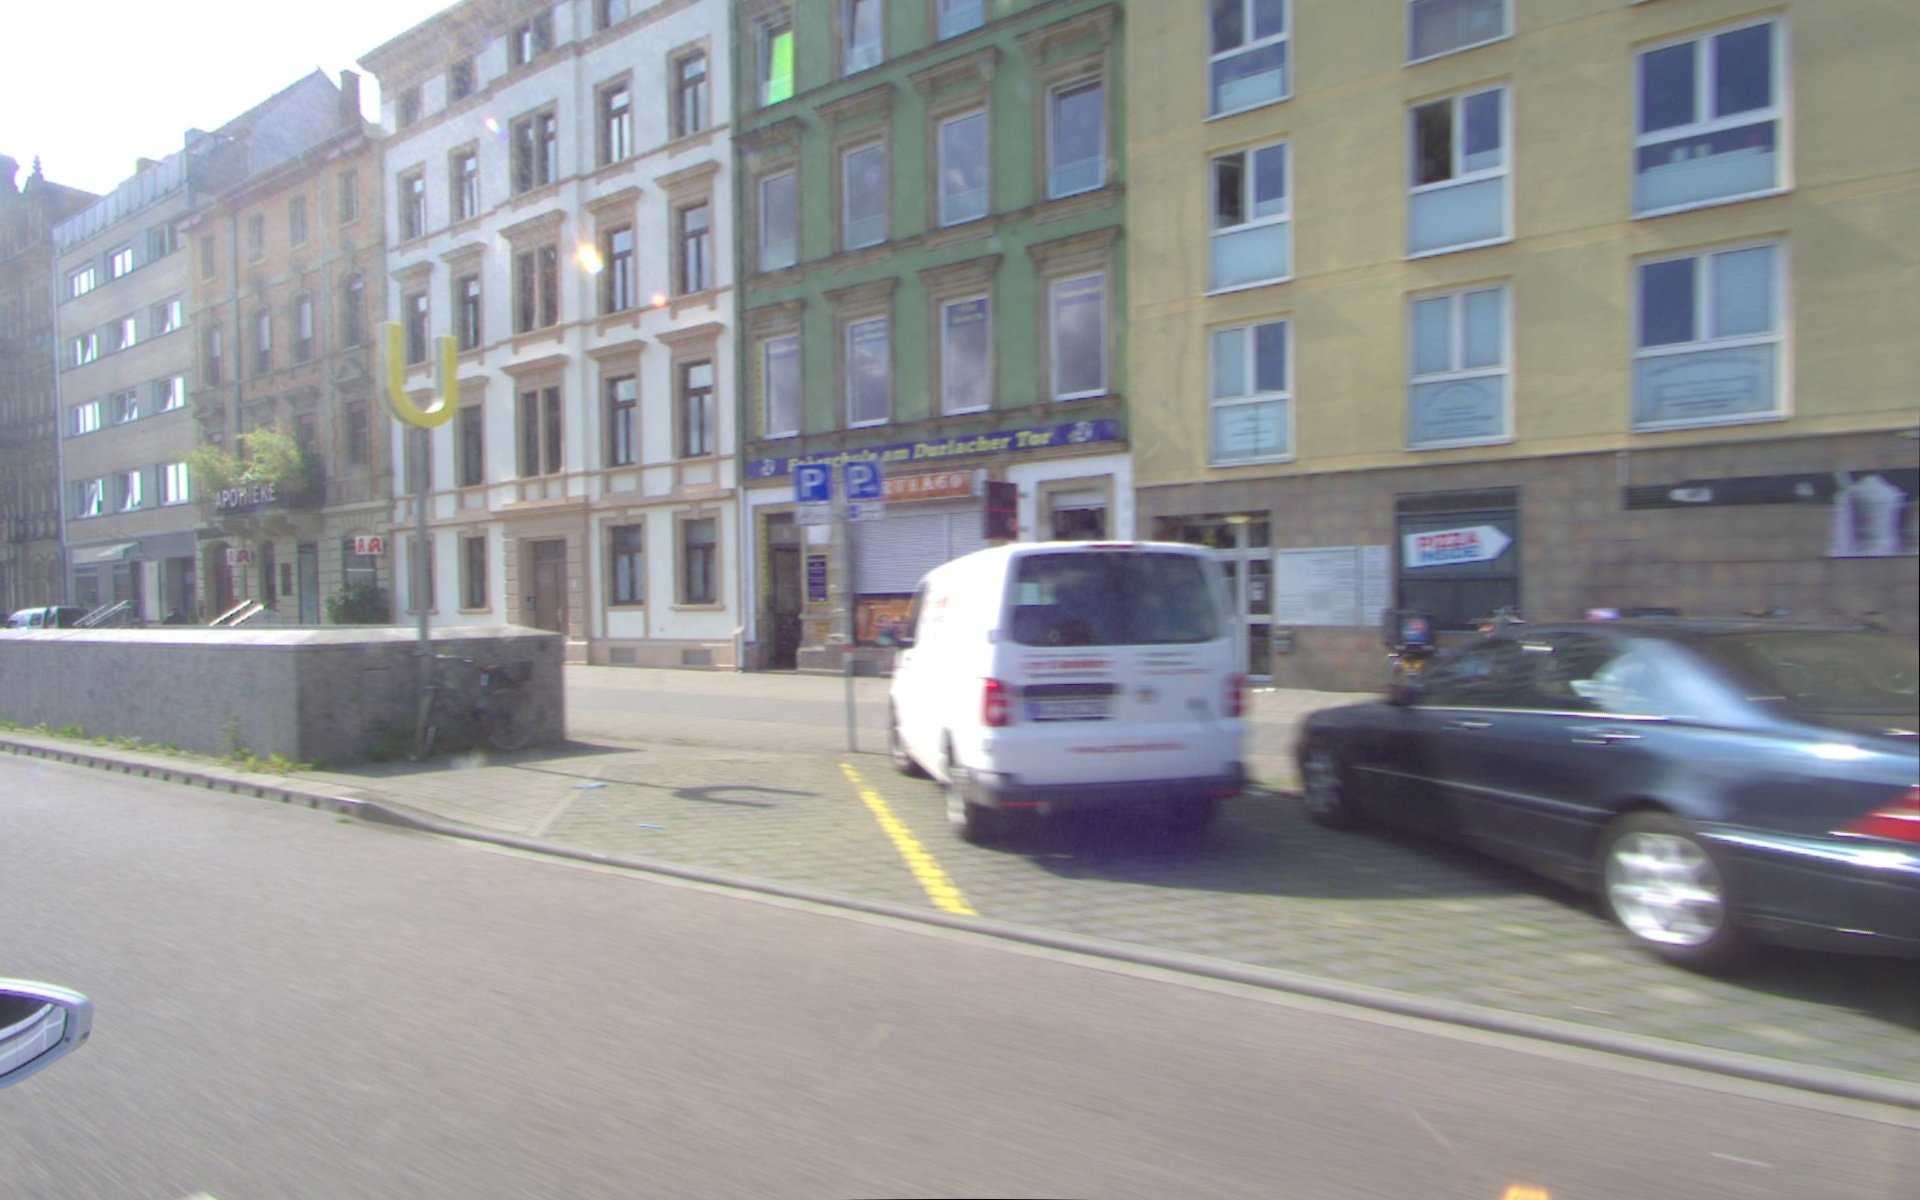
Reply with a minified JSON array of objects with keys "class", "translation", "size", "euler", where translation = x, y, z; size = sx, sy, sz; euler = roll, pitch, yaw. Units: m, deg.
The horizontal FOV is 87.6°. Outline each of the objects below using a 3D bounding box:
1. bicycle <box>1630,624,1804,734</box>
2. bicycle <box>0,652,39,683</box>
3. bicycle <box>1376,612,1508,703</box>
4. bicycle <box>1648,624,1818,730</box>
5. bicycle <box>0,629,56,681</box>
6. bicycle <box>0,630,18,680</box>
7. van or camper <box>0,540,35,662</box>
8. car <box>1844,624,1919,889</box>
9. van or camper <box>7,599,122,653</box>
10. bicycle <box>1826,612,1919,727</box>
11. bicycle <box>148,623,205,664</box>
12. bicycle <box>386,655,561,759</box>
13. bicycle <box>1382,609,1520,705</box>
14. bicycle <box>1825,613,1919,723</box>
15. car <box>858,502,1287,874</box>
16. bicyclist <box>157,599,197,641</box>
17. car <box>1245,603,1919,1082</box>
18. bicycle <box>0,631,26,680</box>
[{"class":"bicycle","translation":[8.974,0.904,11.937],"size":[1.624,1.217,0.484],"euler":[-1,1,37]},{"class":"bicycle","translation":[-20.095,1.407,20.503],"size":[1.737,0.594,0.638],"euler":[-1,0,-8]},{"class":"bicycle","translation":[6.726,0.782,14.006],"size":[1.622,1.217,0.485],"euler":[-1,1,32]},{"class":"bicycle","translation":[9.423,0.904,12.273],"size":[1.624,1.217,0.484],"euler":[-1,1,37]},{"class":"bicycle","translation":[-20.704,1.178,21.605],"size":[0.367,1.099,1.753],"euler":[1,0,34]},{"class":"bicycle","translation":[-21.509,1.204,21.557],"size":[0.367,1.099,1.753],"euler":[1,0,34]},{"class":"van or camper","translation":[-29.848,0.105,29.083],"size":[7.535,3.375,2.705],"euler":[-1,0,34]},{"class":"car","translation":[6.320,0.811,4.302],"size":[1.687,1.459,3.512],"euler":[0,-2,-8]},{"class":"van or camper","translation":[-35.751,1.024,39.953],"size":[5.223,1.931,1.988],"euler":[-1,2,32]},{"class":"bicycle","translation":[10.494,0.745,10.866],"size":[1.624,1.217,0.545],"euler":[-1,1,37]},{"class":"bicycle","translation":[-22.801,1.286,29.140],"size":[2.180,1.060,0.702],"euler":[-6,-4,35]},{"class":"bicycle","translation":[-5.200,1.109,10.834],"size":[0.504,1.016,1.773],"euler":[0,-2,25]},{"class":"bicycle","translation":[6.558,0.746,13.409],"size":[1.622,1.217,0.485],"euler":[-1,1,32]},{"class":"bicycle","translation":[10.853,0.757,11.295],"size":[1.624,1.217,0.484],"euler":[-1,1,37]},{"class":"car","translation":[0.472,0.576,8.307],"size":[2.041,2.111,4.895],"euler":[1,-1,-13]},{"class":"bicyclist","translation":[-22.807,0.588,29.157],"size":[0.803,1.161,0.706],"euler":[-5,-4,34]},{"class":"car","translation":[3.565,0.787,5.526],"size":[1.855,1.488,5.061],"euler":[-1,-1,-9]},{"class":"bicycle","translation":[-22.149,1.258,22.469],"size":[0.366,1.099,1.759],"euler":[1,0,23]}]
